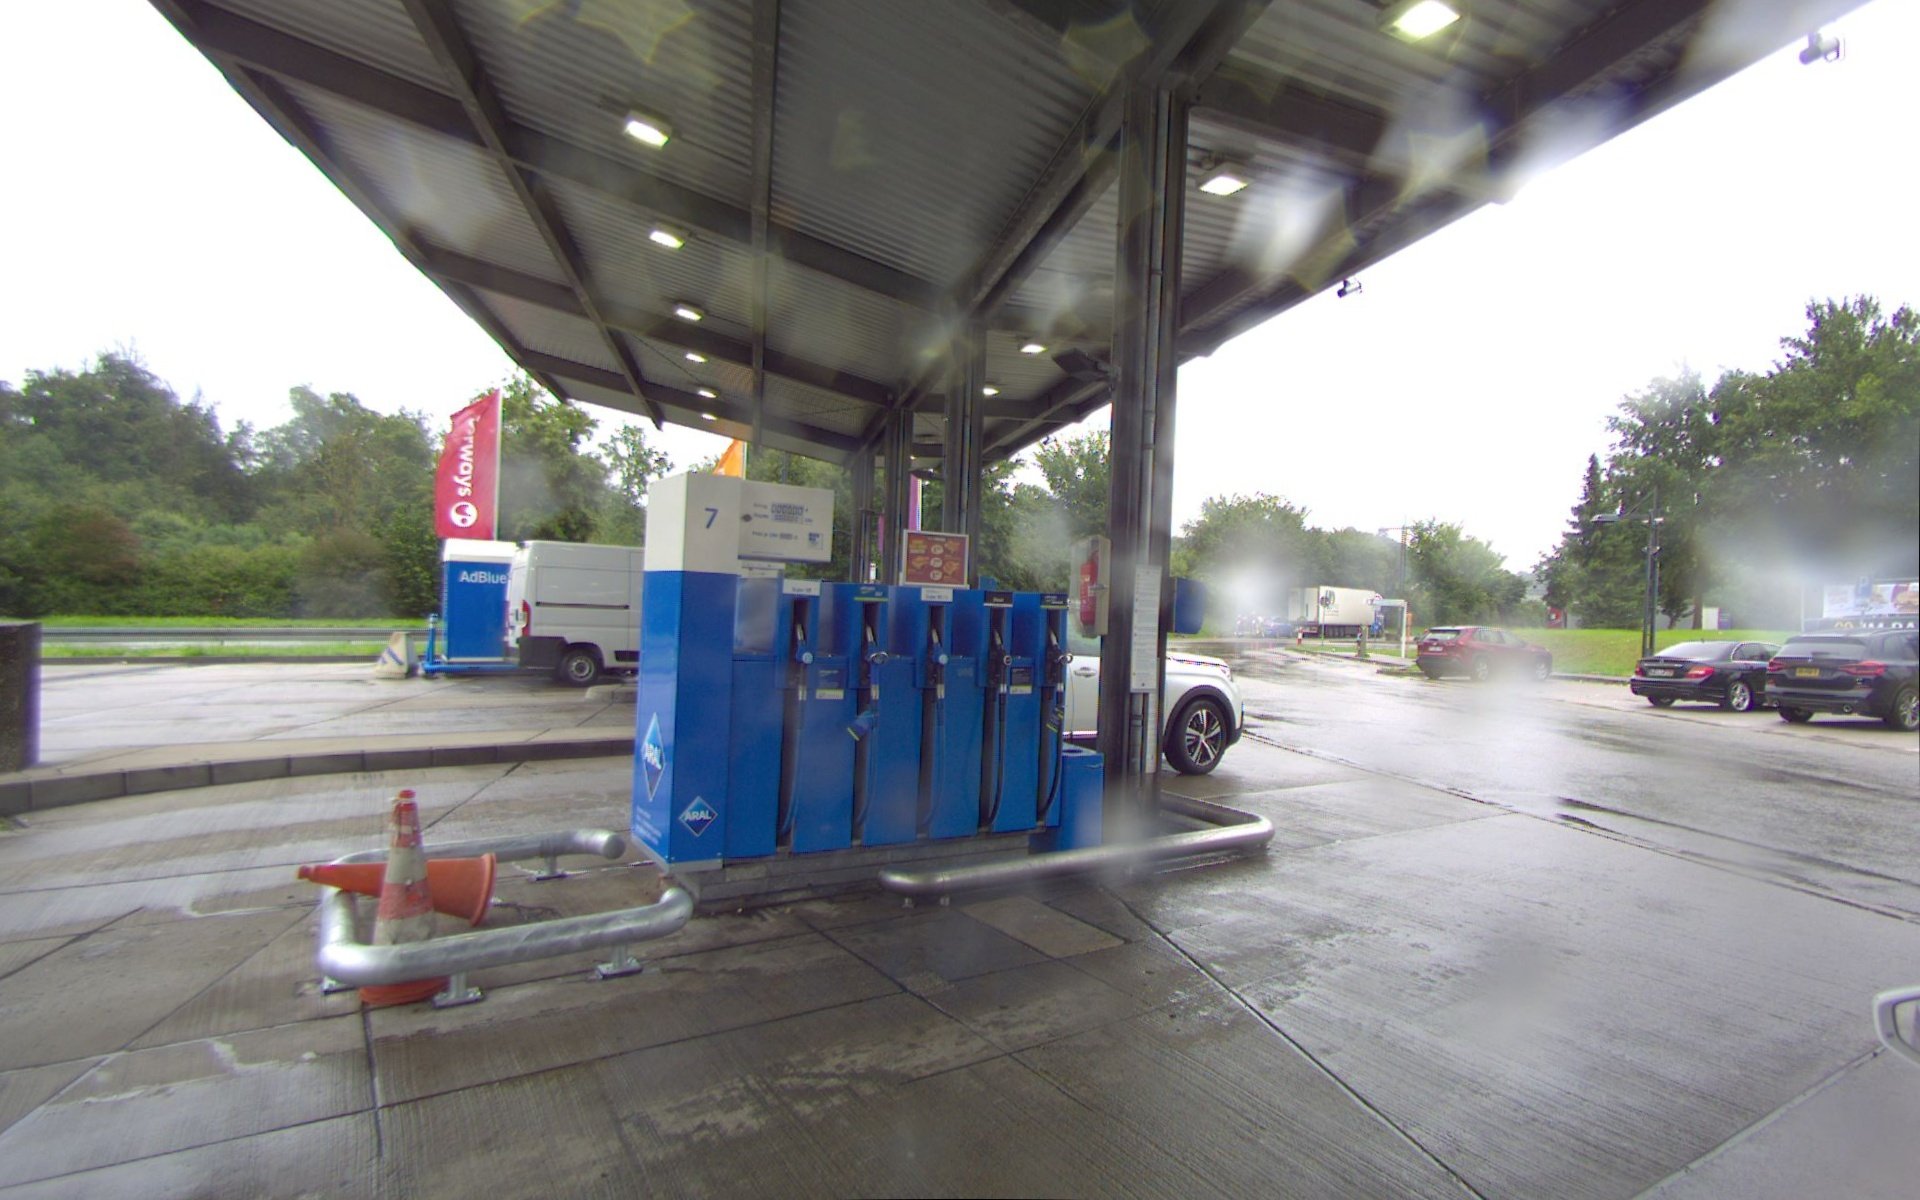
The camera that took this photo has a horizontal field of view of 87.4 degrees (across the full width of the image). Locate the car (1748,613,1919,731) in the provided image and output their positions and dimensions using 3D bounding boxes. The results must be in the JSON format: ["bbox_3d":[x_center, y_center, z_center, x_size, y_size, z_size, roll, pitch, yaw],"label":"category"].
[{"bbox_3d":[16.161,1.187,17.408,4.344,1.852,1.883,1,-1,-19],"label":"car"}]

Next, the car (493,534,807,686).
[{"bbox_3d":[-5.769,0.232,18.971,5.227,2.496,2.306,1,-1,-34],"label":"car"}]

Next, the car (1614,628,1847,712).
[{"bbox_3d":[15.948,1.415,20.828,4.119,1.585,1.883,1,-1,-19],"label":"car"}]

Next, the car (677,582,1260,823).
[{"bbox_3d":[0.262,0.721,8.770,4.953,1.586,1.802,1,0,-35],"label":"car"}]

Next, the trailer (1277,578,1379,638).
[{"bbox_3d":[30.923,0.745,83.860,3.416,4.618,13.847,2,0,40],"label":"trailer"}]

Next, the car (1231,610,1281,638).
[{"bbox_3d":[20.870,1.691,70.776,1.903,1.862,4.373,1,0,38],"label":"car"}]

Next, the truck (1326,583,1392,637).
[{"bbox_3d":[35.596,0.914,89.464,3.416,4.618,6.704,2,0,40],"label":"truck"}]

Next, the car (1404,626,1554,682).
[{"bbox_3d":[16.011,1.642,30.974,4.294,1.617,1.879,1,-1,-24],"label":"car"}]
